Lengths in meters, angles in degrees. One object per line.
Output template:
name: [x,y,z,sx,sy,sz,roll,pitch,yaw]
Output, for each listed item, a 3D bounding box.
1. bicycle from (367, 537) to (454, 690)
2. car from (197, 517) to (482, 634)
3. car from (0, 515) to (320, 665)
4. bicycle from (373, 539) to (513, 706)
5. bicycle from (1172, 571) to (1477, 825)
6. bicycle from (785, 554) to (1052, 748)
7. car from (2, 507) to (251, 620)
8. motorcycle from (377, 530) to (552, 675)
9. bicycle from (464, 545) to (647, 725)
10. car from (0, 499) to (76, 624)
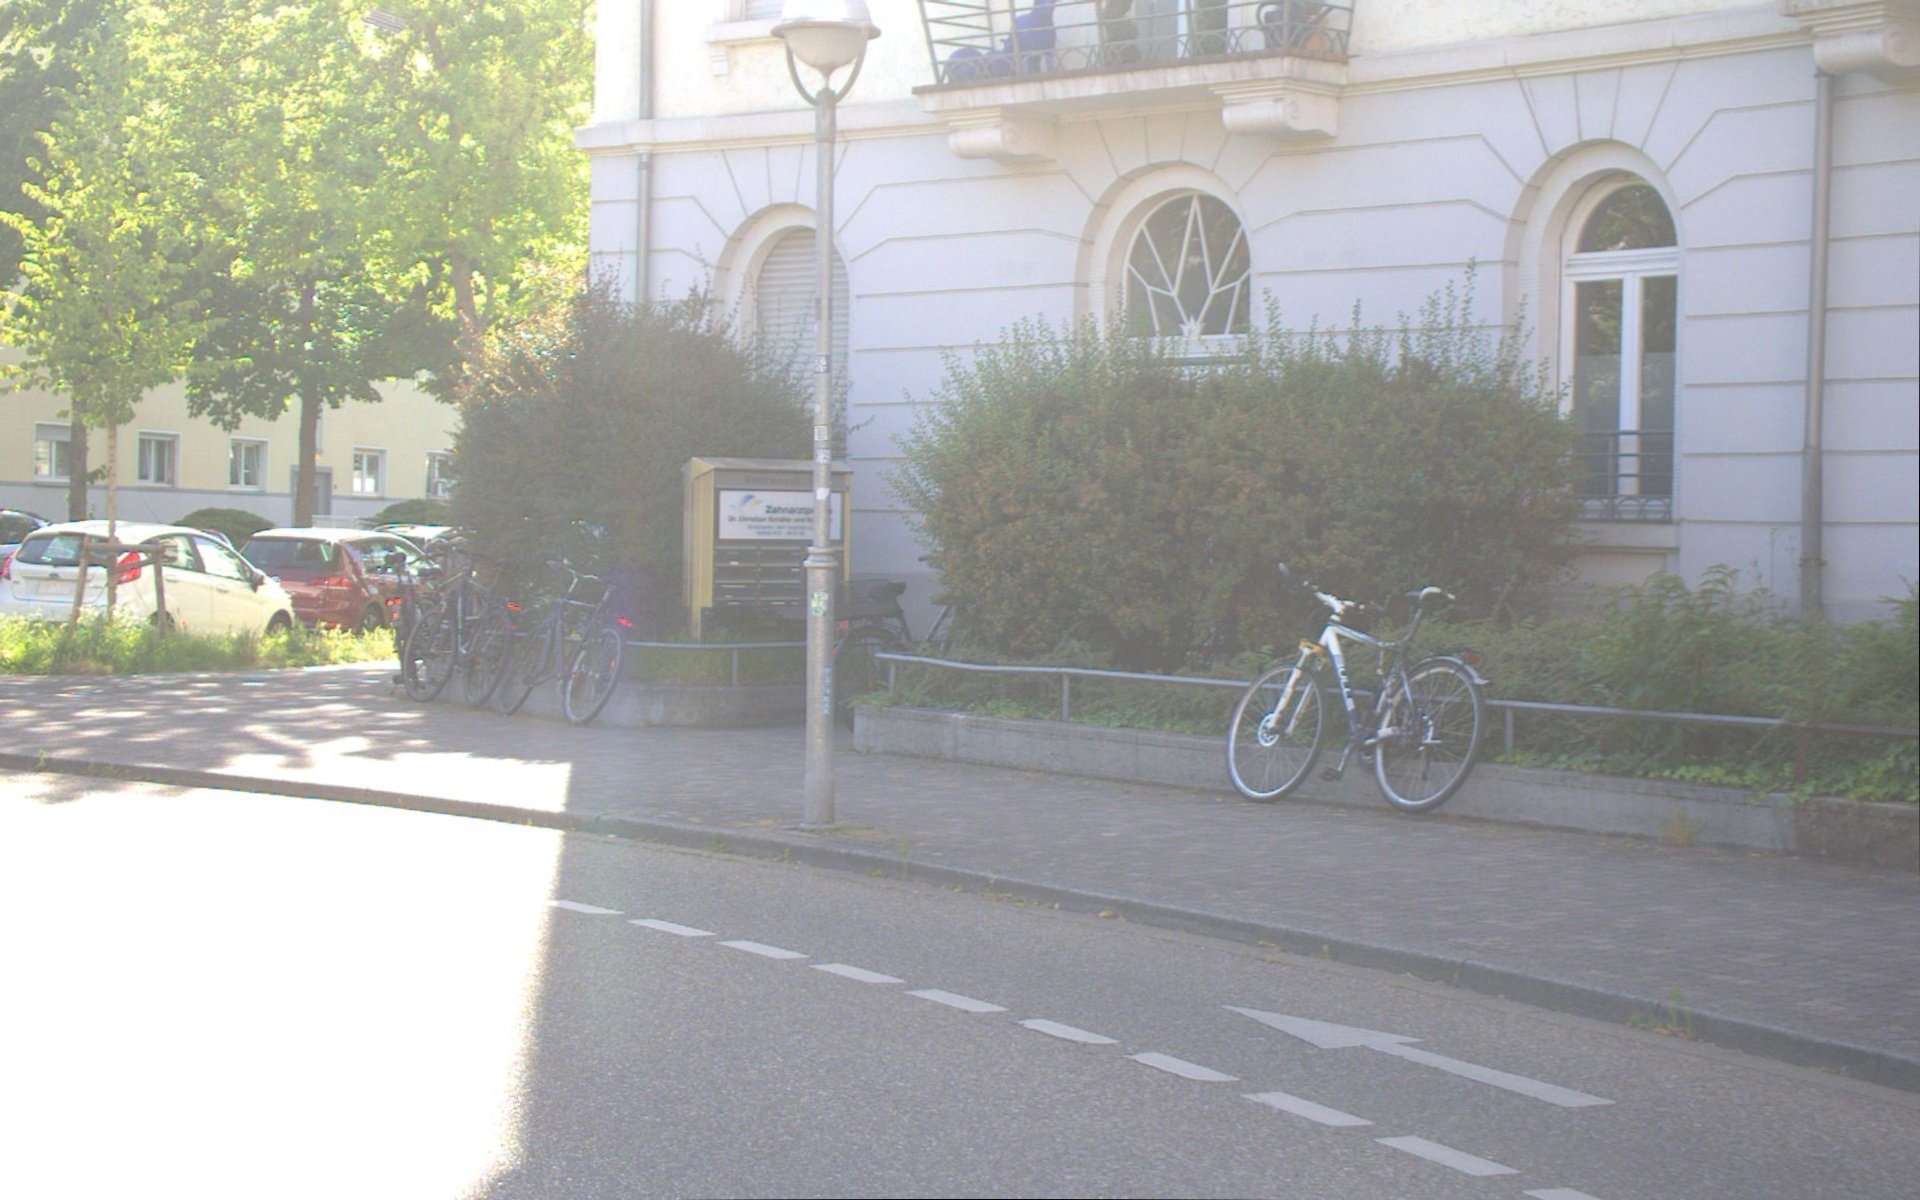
bicycle: [-4.212,0.084,26.429,0.498,1.104,1.951,0,2,-4]
car: [-7.025,-0.295,39.280,1.795,1.251,3.716,1,1,15]
car: [-8.243,-0.125,34.927,1.795,1.408,3.997,1,1,16]
bicycle: [-3.661,0.140,24.235,0.498,1.104,1.801,0,2,-24]
bicycle: [1.678,0.426,16.056,0.501,1.084,1.686,-2,2,-31]
bicycle: [-0.235,0.287,20.637,1.678,1.104,0.500,-1,2,-41]
car: [-11.635,-0.515,48.230,1.795,1.505,3.998,1,1,13]
motorcycle: [-4.211,0.012,29.338,0.886,1.187,1.489,-1,1,18]
bicycle: [-2.674,0.209,22.582,0.498,1.104,1.800,0,2,-31]
car: [-12.943,-0.495,43.430,1.795,1.570,3.998,1,1,13]
